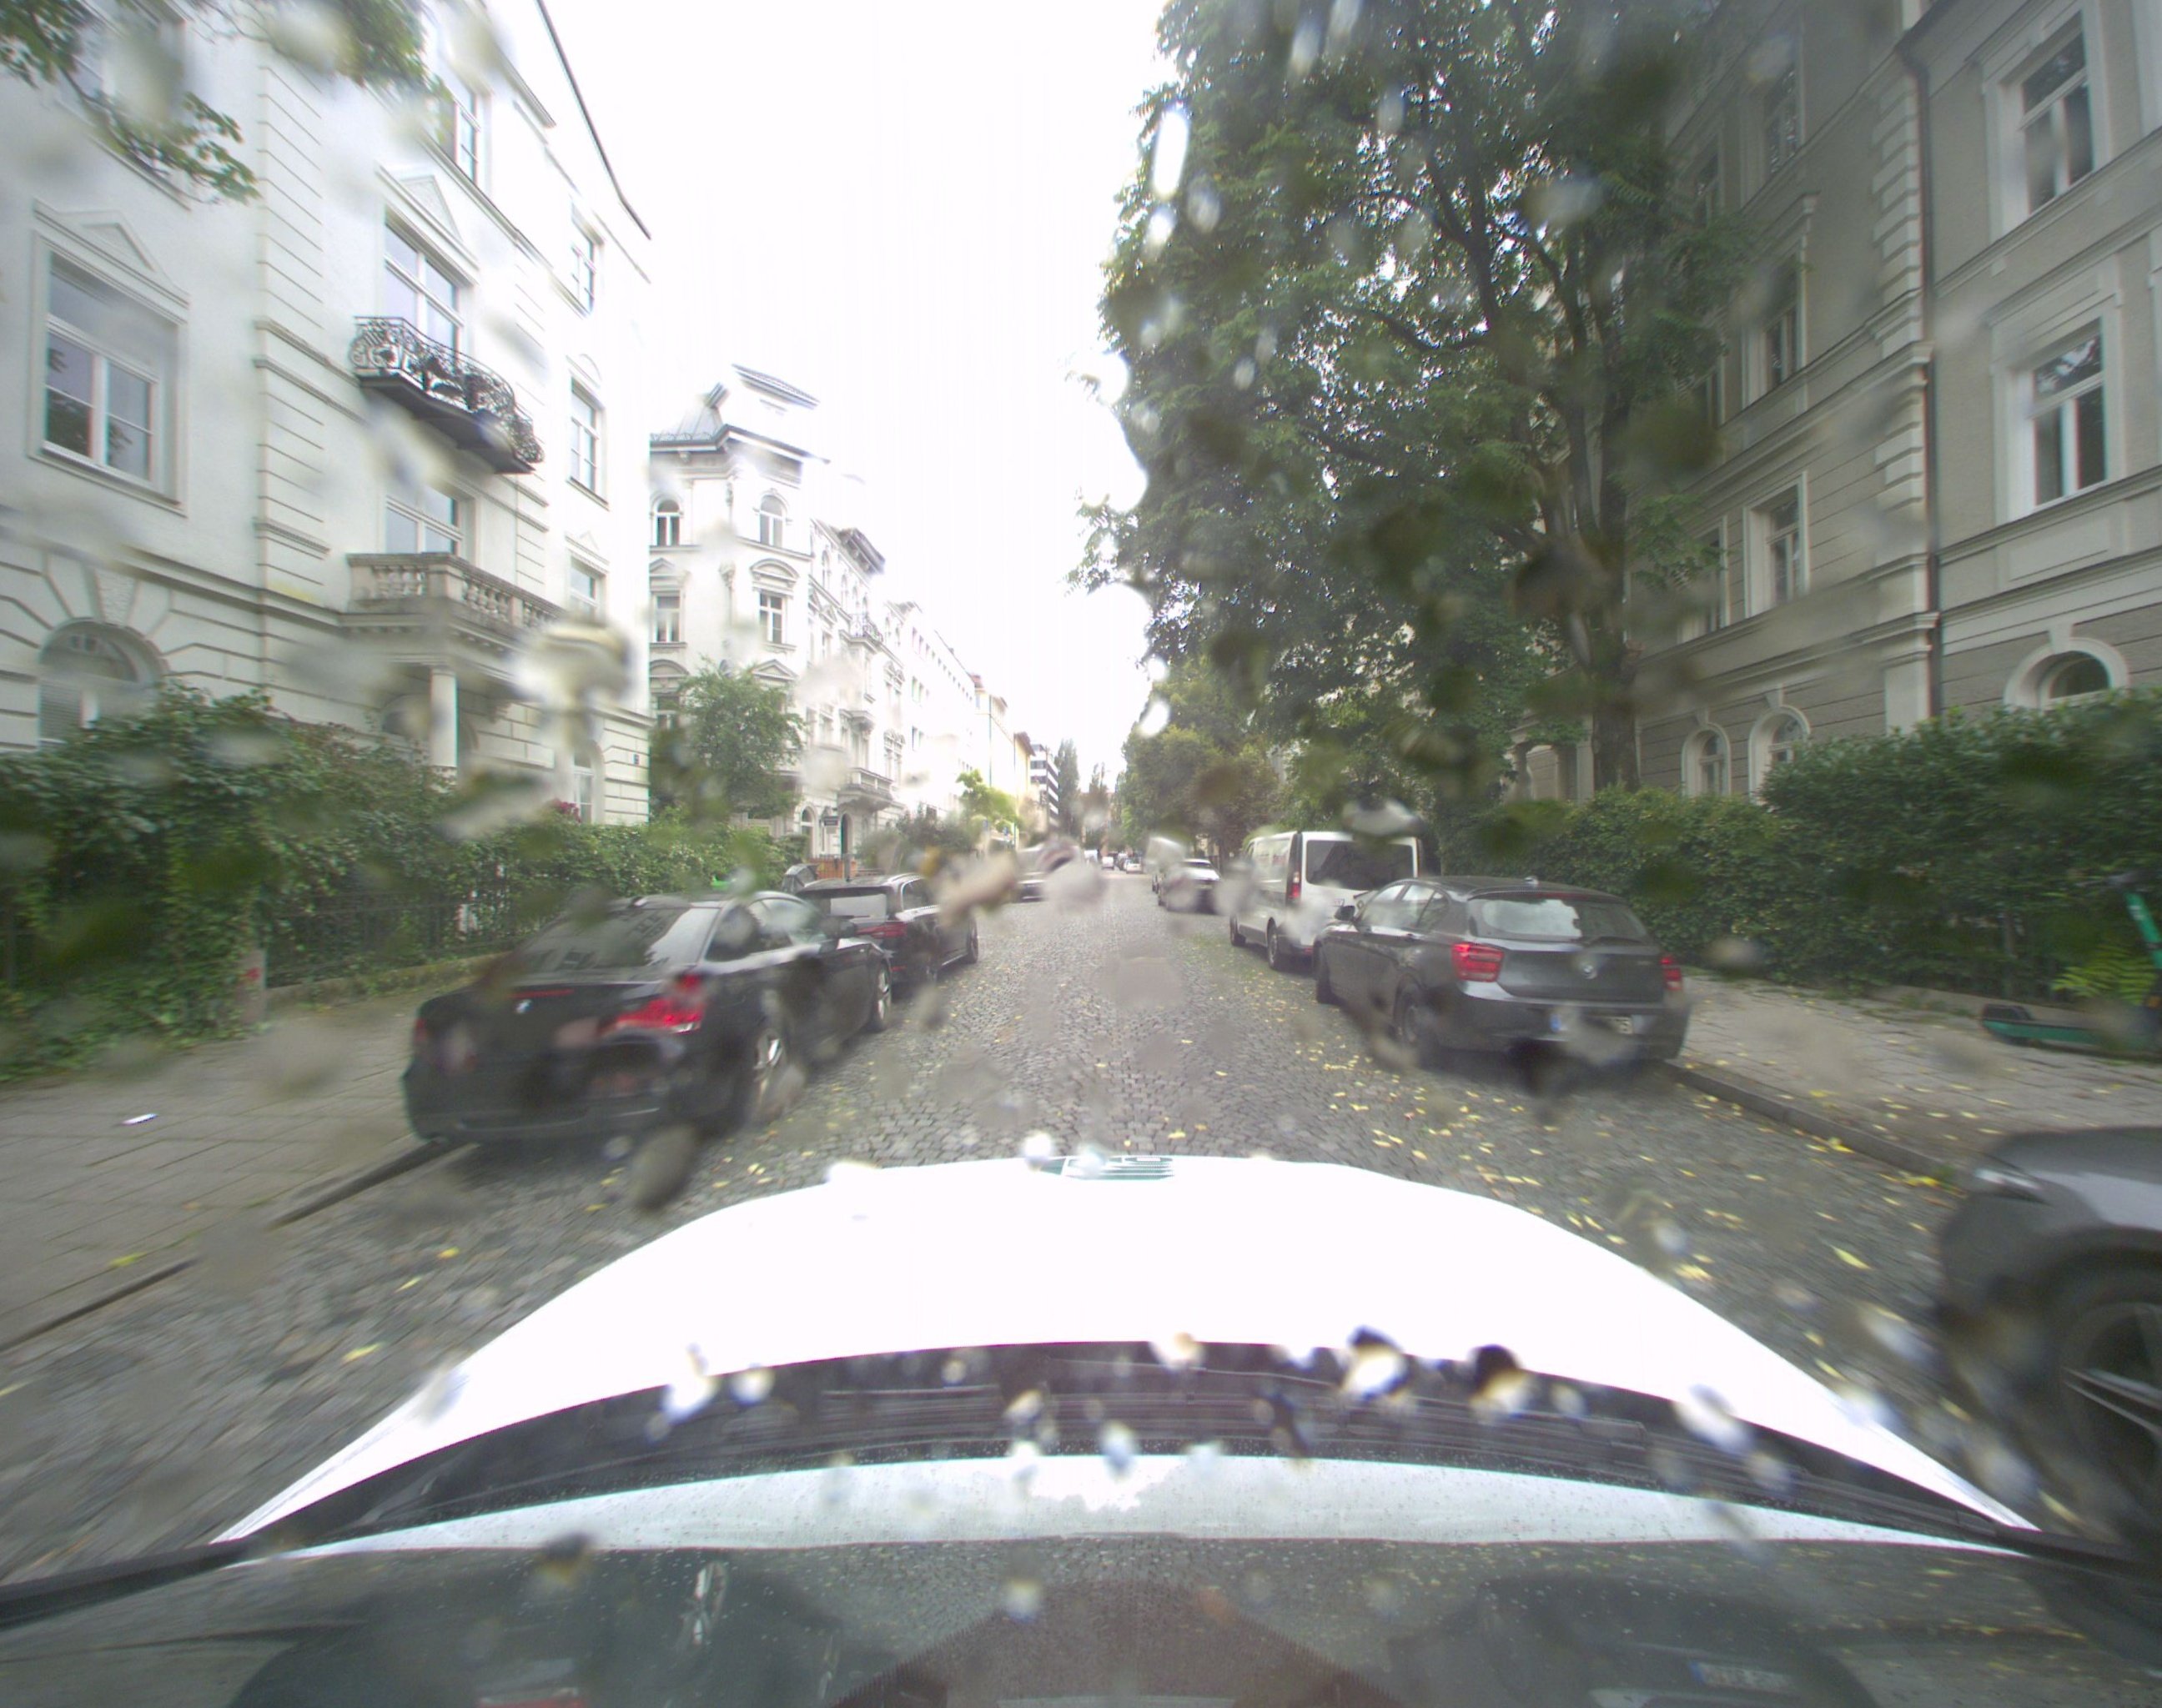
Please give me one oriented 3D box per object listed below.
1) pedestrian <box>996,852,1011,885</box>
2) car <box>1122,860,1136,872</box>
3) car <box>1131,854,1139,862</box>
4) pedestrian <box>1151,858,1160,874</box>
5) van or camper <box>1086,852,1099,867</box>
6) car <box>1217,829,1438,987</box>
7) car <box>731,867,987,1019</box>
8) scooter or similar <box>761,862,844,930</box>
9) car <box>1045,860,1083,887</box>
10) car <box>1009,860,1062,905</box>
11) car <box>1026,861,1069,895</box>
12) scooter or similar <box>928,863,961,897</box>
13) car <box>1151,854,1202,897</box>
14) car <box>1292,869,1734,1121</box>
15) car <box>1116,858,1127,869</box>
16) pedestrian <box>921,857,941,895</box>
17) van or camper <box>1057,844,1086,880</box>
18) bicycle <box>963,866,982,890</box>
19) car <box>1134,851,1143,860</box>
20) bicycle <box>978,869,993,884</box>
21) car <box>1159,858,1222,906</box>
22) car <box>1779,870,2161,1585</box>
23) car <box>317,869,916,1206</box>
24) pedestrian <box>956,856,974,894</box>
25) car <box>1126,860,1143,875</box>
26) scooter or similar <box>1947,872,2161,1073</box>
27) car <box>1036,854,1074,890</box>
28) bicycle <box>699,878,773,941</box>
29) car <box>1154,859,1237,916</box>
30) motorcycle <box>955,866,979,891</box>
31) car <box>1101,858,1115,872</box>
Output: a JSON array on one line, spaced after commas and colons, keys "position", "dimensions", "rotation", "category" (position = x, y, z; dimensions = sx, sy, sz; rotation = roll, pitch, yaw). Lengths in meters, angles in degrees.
[{"position": [-4.596, 0.833, 48.153], "dimensions": [0.789, 1.917, 0.759], "rotation": [1, -1, 1], "category": "pedestrian"}, {"position": [6.308, 1.598, 107.368], "dimensions": [1.783, 1.520, 4.002], "rotation": [0, -1, 2], "category": "car"}, {"position": [14.149, 0.985, 214.023], "dimensions": [1.986, 2.014, 4.002], "rotation": [0, -1, 2], "category": "car"}, {"position": [9.494, 1.568, 104.023], "dimensions": [0.857, 2.014, 0.986], "rotation": [0, -1, -16], "category": "pedestrian"}, {"position": [2.082, 0.955, 150.344], "dimensions": [2.247, 2.742, 5.100], "rotation": [0, -1, 2], "category": "van or camper"}, {"position": [3.557, 0.702, 12.873], "dimensions": [1.867, 1.928, 5.163], "rotation": [2, 0, 0], "category": "car"}, {"position": [-2.564, 0.965, 10.667], "dimensions": [1.879, 1.417, 4.409], "rotation": [-4, 0, 3], "category": "car"}, {"position": [-6.357, 0.912, 18.785], "dimensions": [0.938, 1.442, 2.656], "rotation": [1, 0, 1], "category": "scooter or similar"}, {"position": [-1.022, 1.195, 50.804], "dimensions": [1.864, 1.580, 4.214], "rotation": [2, -1, 5], "category": "car"}, {"position": [-1.776, 1.098, 33.118], "dimensions": [1.867, 1.580, 4.254], "rotation": [-3, 0, 0], "category": "car"}, {"position": [-1.548, 1.121, 39.165], "dimensions": [1.867, 1.451, 4.207], "rotation": [-2, 0, 0], "category": "car"}, {"position": [-5.943, 1.101, 35.638], "dimensions": [0.937, 1.442, 2.657], "rotation": [0, 0, 2], "category": "scooter or similar"}, {"position": [4.252, 0.938, 36.951], "dimensions": [1.866, 1.733, 4.595], "rotation": [2, 0, 2], "category": "car"}, {"position": [3.332, 0.937, 7.420], "dimensions": [1.829, 1.490, 4.424], "rotation": [2, 0, 3], "category": "car"}, {"position": [7.471, 1.714, 150.603], "dimensions": [1.986, 2.014, 4.002], "rotation": [0, -1, 2], "category": "car"}, {"position": [-6.666, 0.973, 36.201], "dimensions": [0.715, 1.687, 0.695], "rotation": [0, -1, 1], "category": "pedestrian"}, {"position": [-0.739, 0.636, 65.762], "dimensions": [1.986, 2.652, 4.002], "rotation": [-3, -1, 2], "category": "van or camper"}, {"position": [-5.794, 1.238, 43.310], "dimensions": [0.657, 1.221, 2.077], "rotation": [0, -1, -17], "category": "bicycle"}, {"position": [13.278, 0.290, 189.481], "dimensions": [1.986, 2.014, 4.002], "rotation": [0, -1, 2], "category": "car"}, {"position": [-5.857, 1.373, 49.934], "dimensions": [0.500, 0.839, 2.092], "rotation": [0, 0, 5], "category": "bicycle"}, {"position": [4.005, 0.998, 30.389], "dimensions": [1.811, 1.580, 4.209], "rotation": [3, 0, 1], "category": "car"}, {"position": [3.104, 0.806, 0.510], "dimensions": [1.707, 1.472, 4.269], "rotation": [2, 0, 1], "category": "car"}, {"position": [-2.655, 0.908, 6.098], "dimensions": [1.777, 1.417, 4.497], "rotation": [-4, 0, 1], "category": "car"}, {"position": [-5.302, 0.952, 37.200], "dimensions": [0.690, 1.687, 0.720], "rotation": [0, -1, 1], "category": "pedestrian"}, {"position": [5.661, 1.450, 86.675], "dimensions": [1.783, 1.520, 4.002], "rotation": [0, -1, 2], "category": "car"}, {"position": [6.923, 0.761, 5.614], "dimensions": [0.414, 1.234, 1.242], "rotation": [-3, 0, -10], "category": "scooter or similar"}, {"position": [-1.403, 0.981, 45.662], "dimensions": [1.867, 1.776, 4.123], "rotation": [-4, -1, 1], "category": "car"}, {"position": [-6.779, 1.056, 16.108], "dimensions": [0.575, 1.122, 2.051], "rotation": [0, 0, 1], "category": "bicycle"}, {"position": [3.415, 0.953, 25.063], "dimensions": [1.867, 1.503, 4.510], "rotation": [2, 0, 0], "category": "car"}, {"position": [-5.756, 1.229, 41.142], "dimensions": [0.619, 1.197, 1.870], "rotation": [0, -1, 11], "category": "motorcycle"}, {"position": [3.855, 1.541, 116.670], "dimensions": [1.986, 2.014, 4.002], "rotation": [0, -1, 2], "category": "car"}]
